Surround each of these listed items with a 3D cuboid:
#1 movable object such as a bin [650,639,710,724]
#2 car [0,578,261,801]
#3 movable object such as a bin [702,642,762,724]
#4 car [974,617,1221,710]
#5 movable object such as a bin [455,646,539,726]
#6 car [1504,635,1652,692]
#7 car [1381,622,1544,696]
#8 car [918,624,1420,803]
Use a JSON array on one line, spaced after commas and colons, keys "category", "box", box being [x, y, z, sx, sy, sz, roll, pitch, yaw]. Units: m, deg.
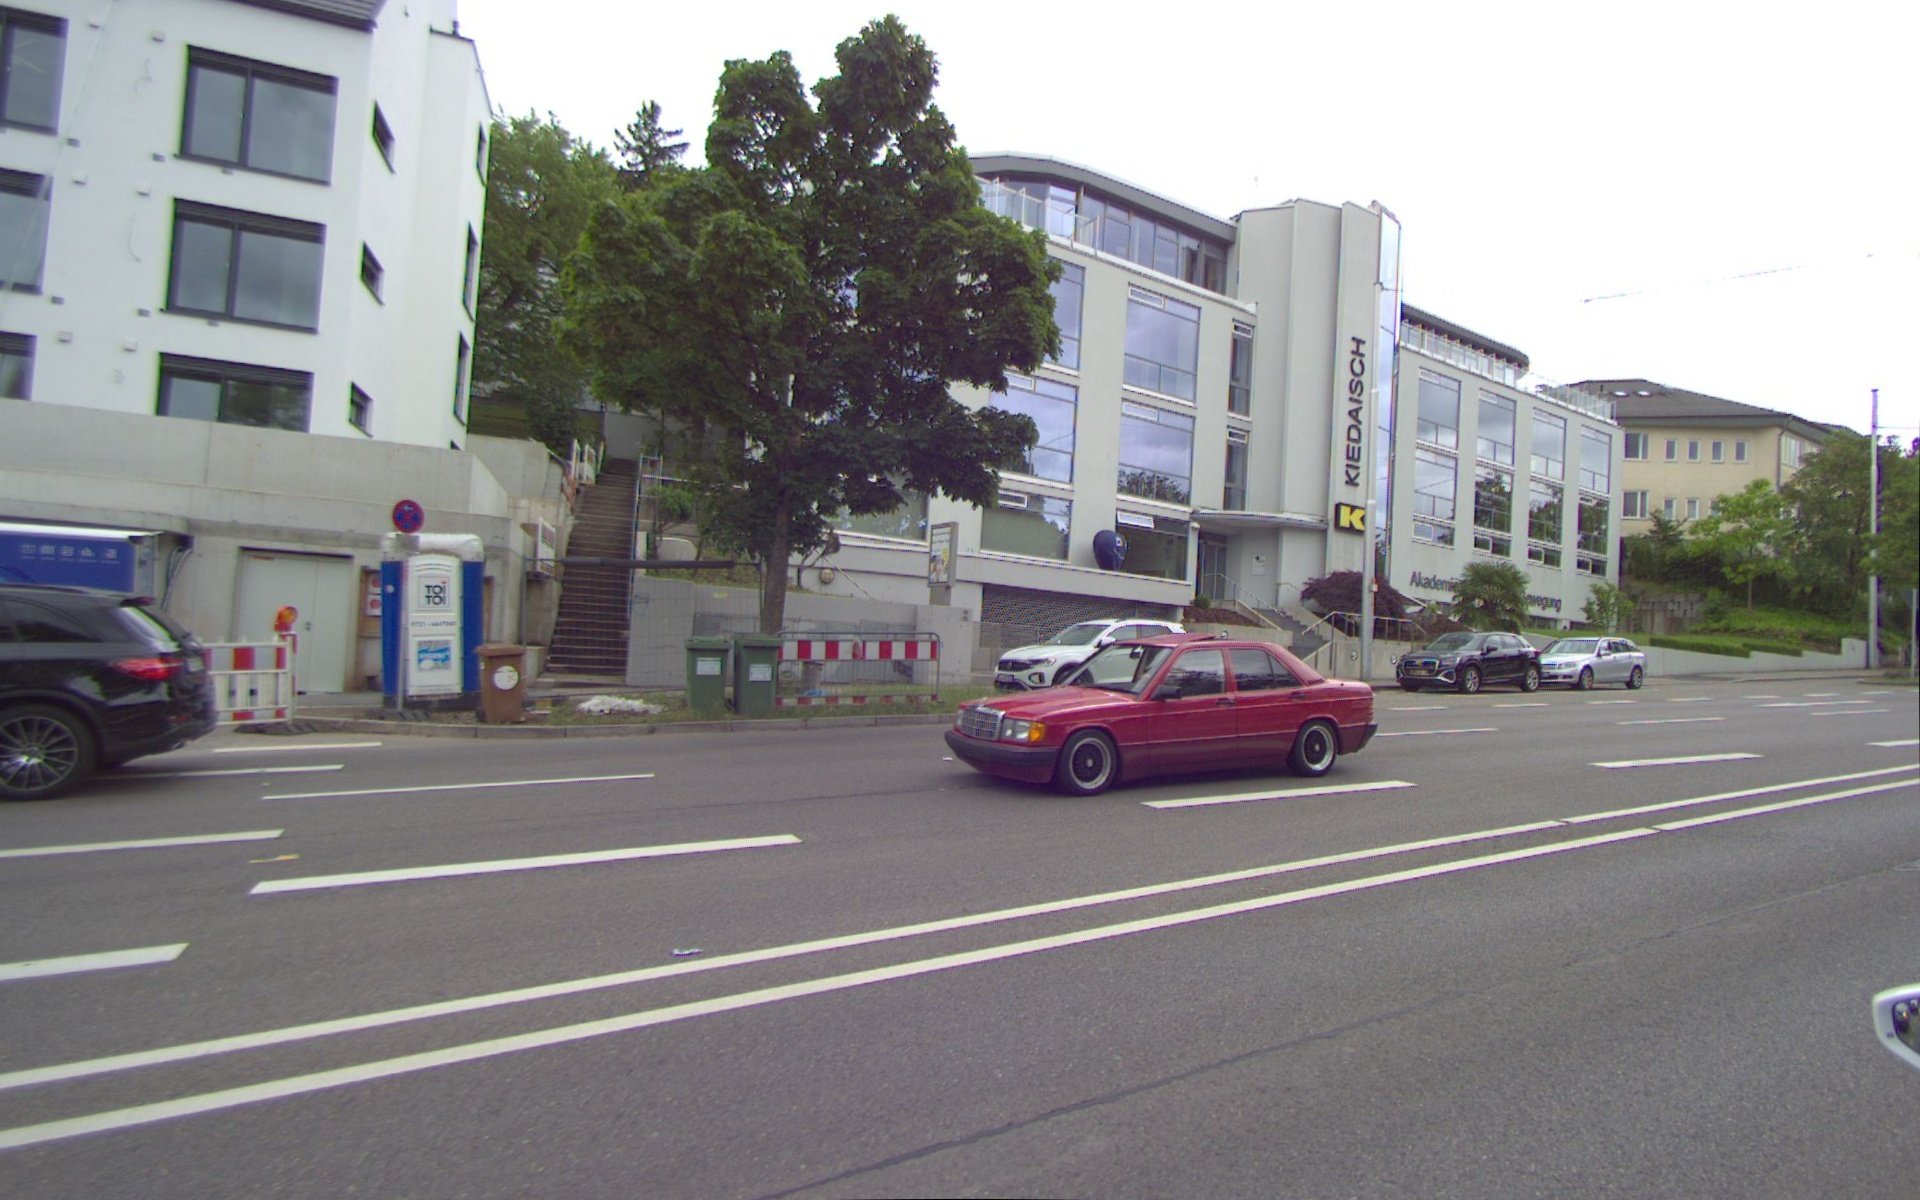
[{"category": "movable object such as a bin", "box": [-3.597, 1.031, 12.882, 0.650, 1.029, 0.644, 1, 0, -22]}, {"category": "car", "box": [-8.144, 0.646, 7.900, 4.090, 1.655, 1.764, 2, -1, -28]}, {"category": "movable object such as a bin", "box": [-2.982, 1.071, 13.125, 0.650, 1.003, 0.644, 1, 0, -22]}, {"category": "car", "box": [2.538, 1.117, 18.355, 4.250, 1.518, 1.764, 2, -1, -28]}, {"category": "movable object such as a bin", "box": [-5.554, 1.015, 12.066, 0.648, 0.891, 0.646, 2, 0, 28]}, {"category": "car", "box": [17.179, 1.718, 27.898, 4.093, 1.426, 1.763, 2, -1, -30]}, {"category": "car", "box": [12.494, 1.432, 24.935, 3.869, 1.655, 1.763, 2, -1, -30]}, {"category": "car", "box": [2.125, 0.970, 9.784, 4.784, 1.370, 1.734, 2, -1, -28]}]
